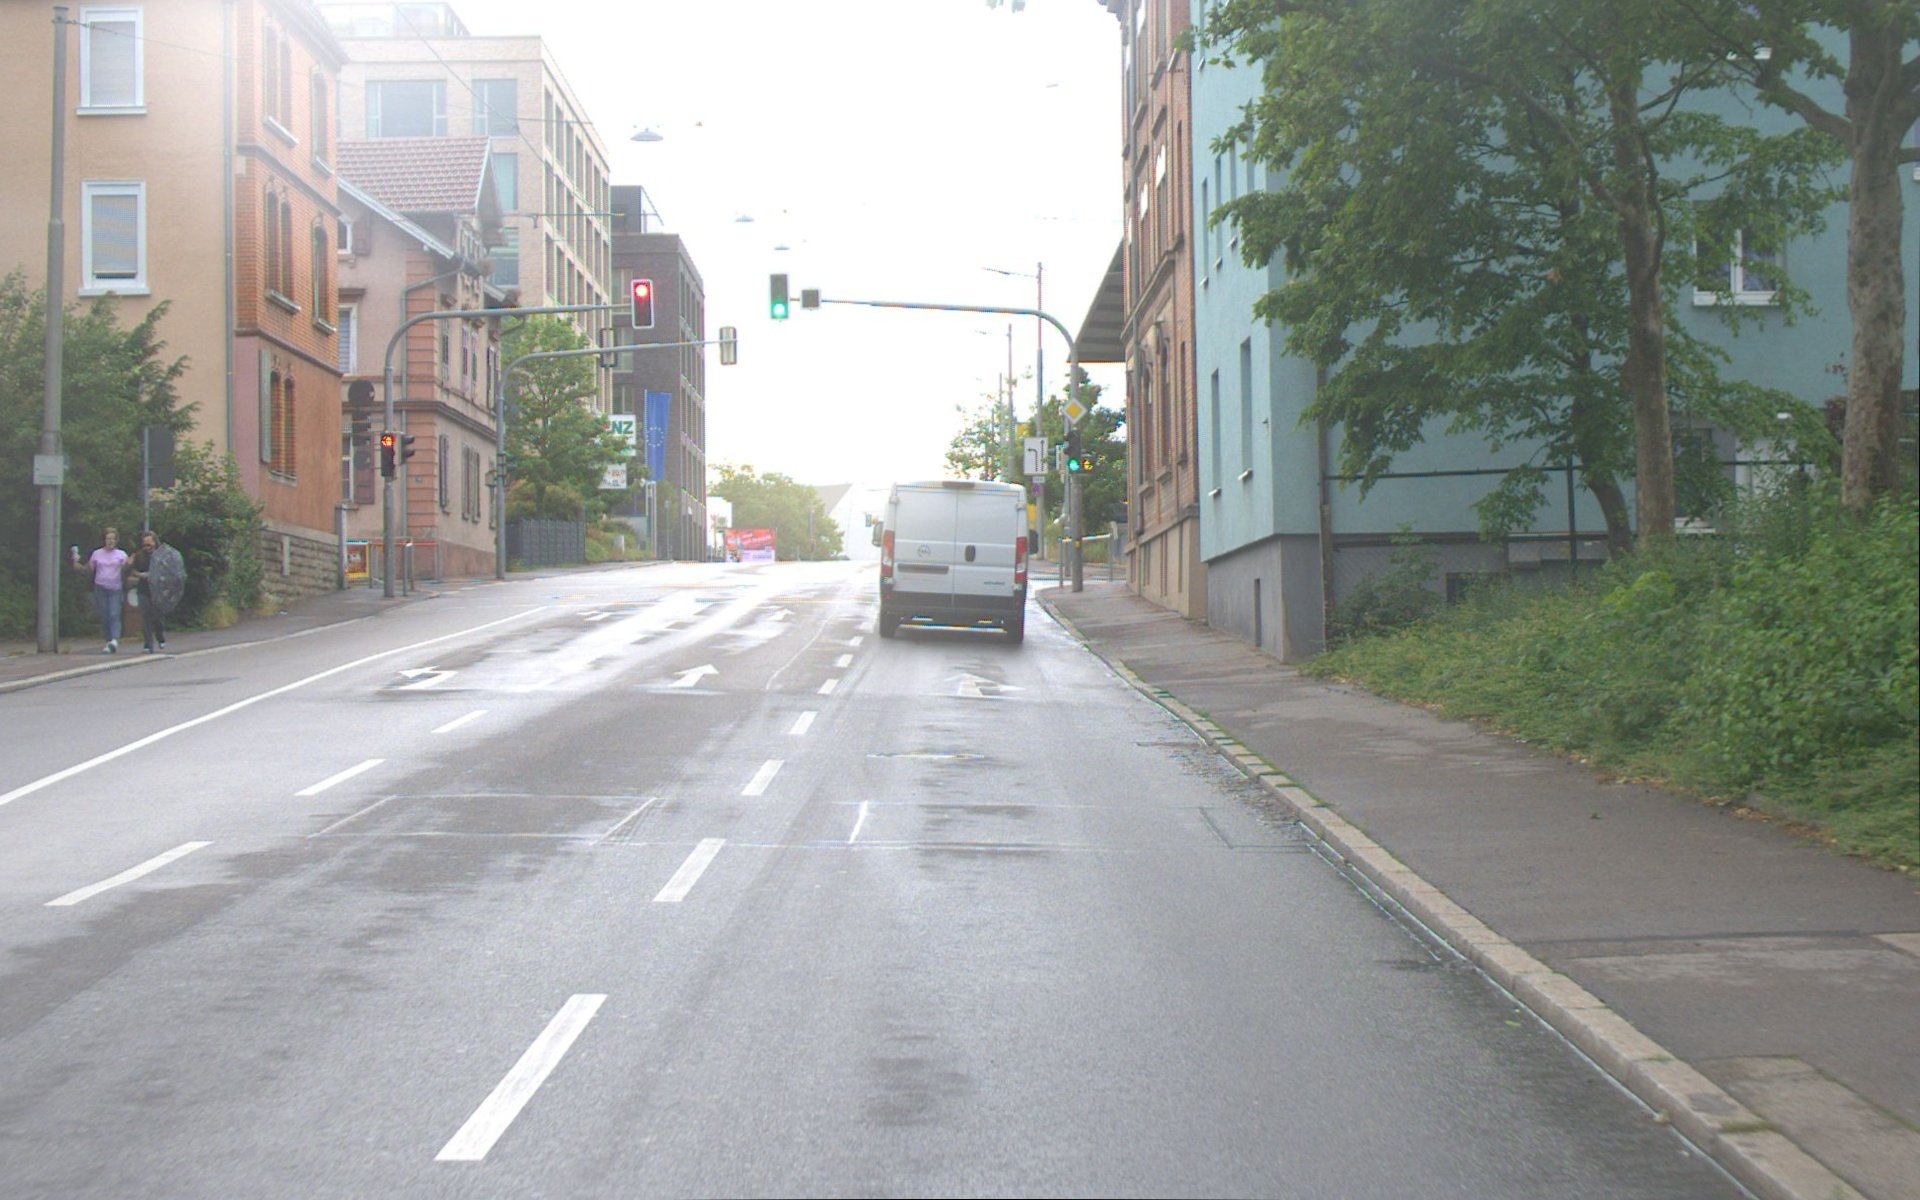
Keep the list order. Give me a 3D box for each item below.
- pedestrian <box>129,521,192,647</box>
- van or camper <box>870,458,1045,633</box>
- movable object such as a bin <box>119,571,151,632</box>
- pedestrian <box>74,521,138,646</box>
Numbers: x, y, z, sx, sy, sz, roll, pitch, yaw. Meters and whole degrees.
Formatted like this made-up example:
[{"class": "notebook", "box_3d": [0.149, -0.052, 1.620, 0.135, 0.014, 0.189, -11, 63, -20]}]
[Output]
[{"class": "pedestrian", "box_3d": [-10.956, -0.226, 47.128, 0.640, 1.700, 0.911, 0, 1, 0]}, {"class": "van or camper", "box_3d": [-0.033, -0.768, 49.233, 2.340, 2.349, 5.199, 1, 1, 0]}, {"class": "movable object such as a bin", "box_3d": [-12.734, 0.023, 53.089, 0.409, 0.921, 0.526, 1, 1, -7]}, {"class": "pedestrian", "box_3d": [-11.739, -0.239, 47.268, 0.640, 1.700, 0.911, 0, 1, 0]}]
